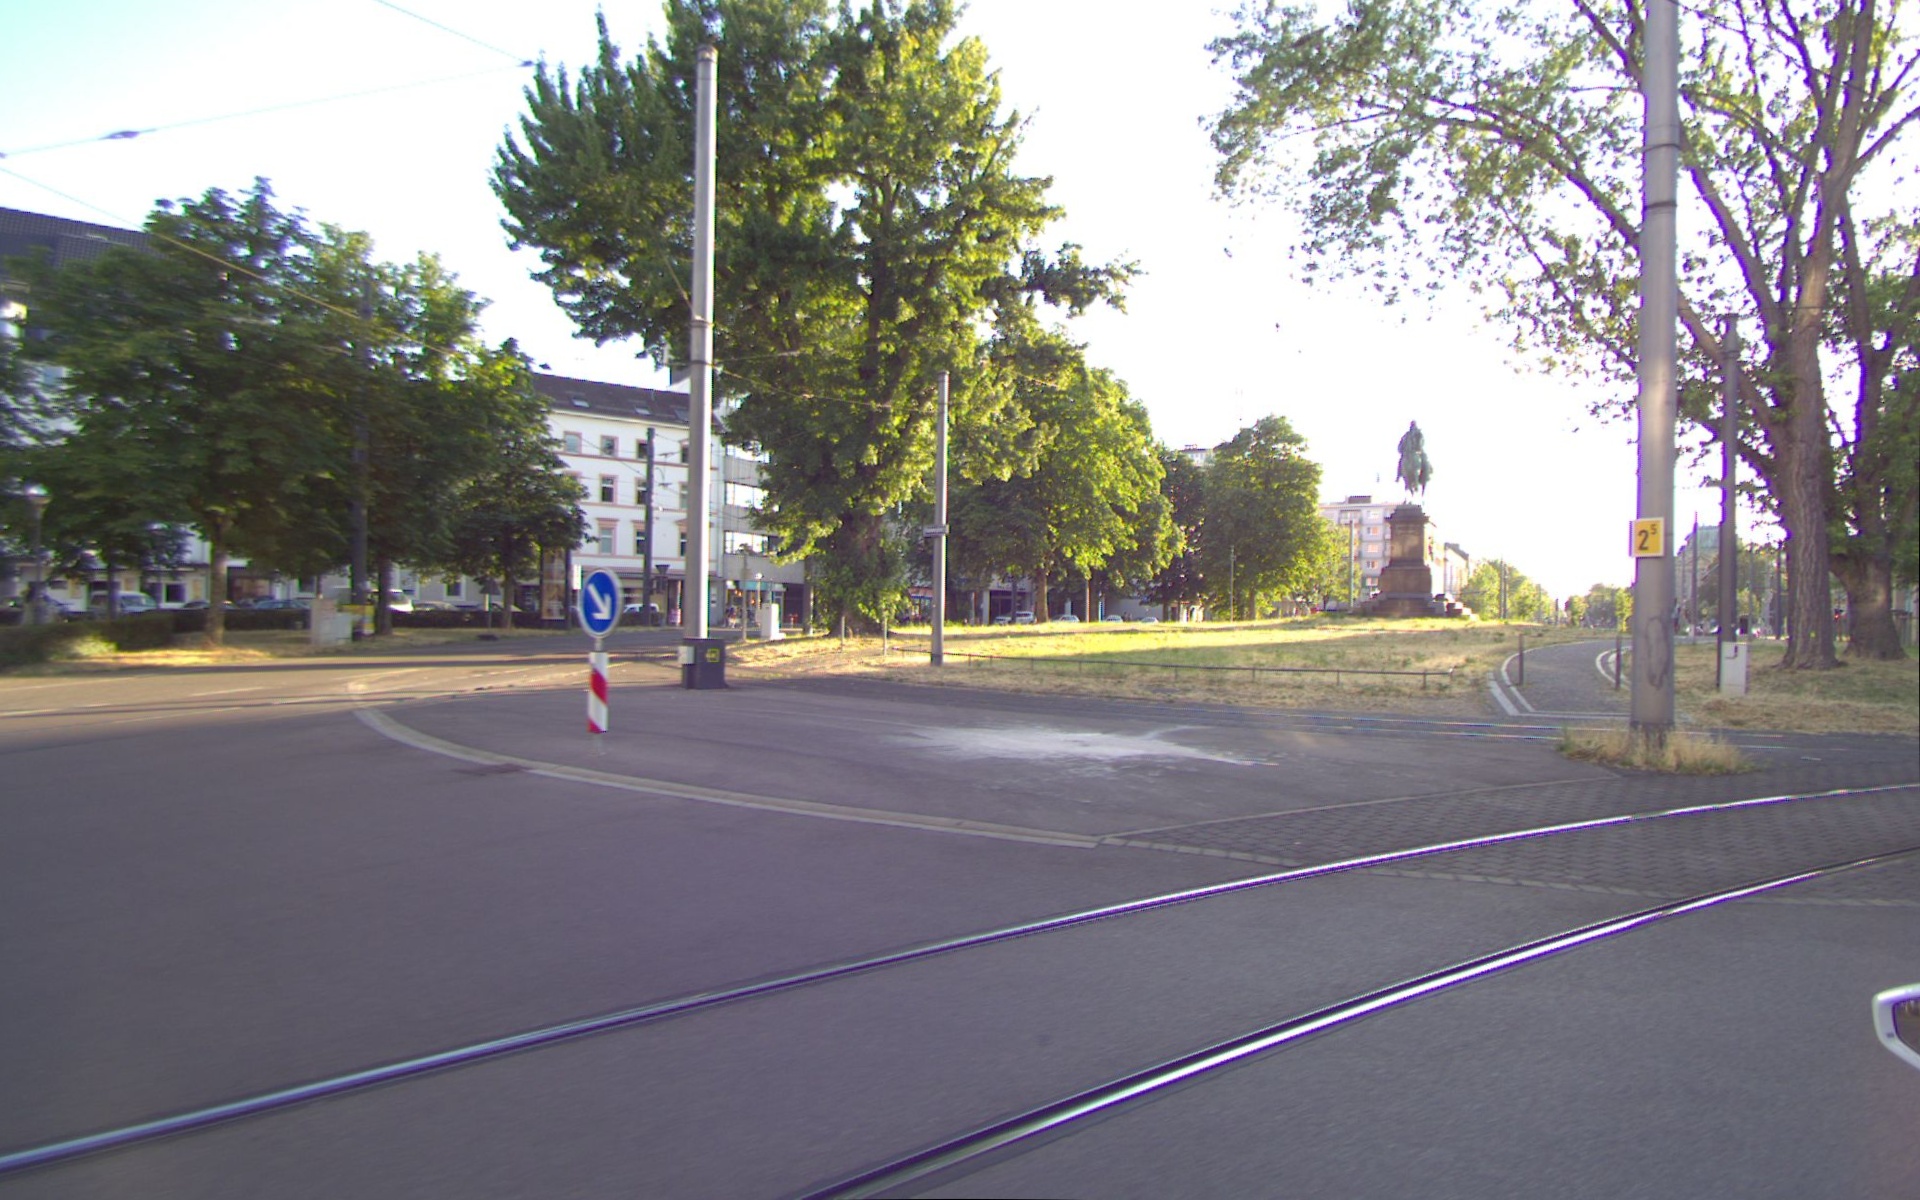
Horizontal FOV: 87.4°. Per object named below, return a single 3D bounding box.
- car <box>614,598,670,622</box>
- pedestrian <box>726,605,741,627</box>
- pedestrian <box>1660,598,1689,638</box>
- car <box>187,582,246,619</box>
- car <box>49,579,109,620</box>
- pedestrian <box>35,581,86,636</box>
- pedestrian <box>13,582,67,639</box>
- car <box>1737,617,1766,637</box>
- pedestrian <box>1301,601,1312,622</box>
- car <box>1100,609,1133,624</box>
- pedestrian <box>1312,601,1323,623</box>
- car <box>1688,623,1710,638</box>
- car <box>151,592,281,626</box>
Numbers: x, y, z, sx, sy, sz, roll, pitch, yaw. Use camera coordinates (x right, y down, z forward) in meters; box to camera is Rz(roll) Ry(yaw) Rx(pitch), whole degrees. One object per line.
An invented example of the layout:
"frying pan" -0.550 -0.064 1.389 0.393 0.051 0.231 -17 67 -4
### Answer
"car" -23.552 0.757 74.364 3.631 1.726 1.763 1 0 -32
"pedestrian" -15.992 1.107 70.809 0.730 1.523 0.772 0 0 17
"pedestrian" 29.344 0.745 41.273 0.758 1.627 0.637 0 0 -11
"car" -37.745 0.011 50.965 1.986 1.806 3.949 1 0 -43
"car" -41.700 -0.029 47.505 1.986 1.806 3.949 1 0 -43
"pedestrian" -24.015 0.227 26.823 0.733 1.429 0.769 0 0 -16
"pedestrian" -23.535 0.270 25.717 0.733 1.429 0.769 0 0 -16
"car" 89.776 3.043 114.018 2.108 2.040 3.990 1 0 32
"pedestrian" 26.604 0.898 77.059 0.757 1.627 0.638 0 0 25
"car" 15.740 1.686 100.974 1.851 1.439 3.913 0 0 34
"pedestrian" 27.092 0.894 76.132 0.757 1.627 0.638 0 0 25
"car" 105.233 4.340 143.108 2.108 2.040 3.990 1 0 32
"car" -26.115 0.327 35.362 1.688 1.133 3.262 0 0 22
